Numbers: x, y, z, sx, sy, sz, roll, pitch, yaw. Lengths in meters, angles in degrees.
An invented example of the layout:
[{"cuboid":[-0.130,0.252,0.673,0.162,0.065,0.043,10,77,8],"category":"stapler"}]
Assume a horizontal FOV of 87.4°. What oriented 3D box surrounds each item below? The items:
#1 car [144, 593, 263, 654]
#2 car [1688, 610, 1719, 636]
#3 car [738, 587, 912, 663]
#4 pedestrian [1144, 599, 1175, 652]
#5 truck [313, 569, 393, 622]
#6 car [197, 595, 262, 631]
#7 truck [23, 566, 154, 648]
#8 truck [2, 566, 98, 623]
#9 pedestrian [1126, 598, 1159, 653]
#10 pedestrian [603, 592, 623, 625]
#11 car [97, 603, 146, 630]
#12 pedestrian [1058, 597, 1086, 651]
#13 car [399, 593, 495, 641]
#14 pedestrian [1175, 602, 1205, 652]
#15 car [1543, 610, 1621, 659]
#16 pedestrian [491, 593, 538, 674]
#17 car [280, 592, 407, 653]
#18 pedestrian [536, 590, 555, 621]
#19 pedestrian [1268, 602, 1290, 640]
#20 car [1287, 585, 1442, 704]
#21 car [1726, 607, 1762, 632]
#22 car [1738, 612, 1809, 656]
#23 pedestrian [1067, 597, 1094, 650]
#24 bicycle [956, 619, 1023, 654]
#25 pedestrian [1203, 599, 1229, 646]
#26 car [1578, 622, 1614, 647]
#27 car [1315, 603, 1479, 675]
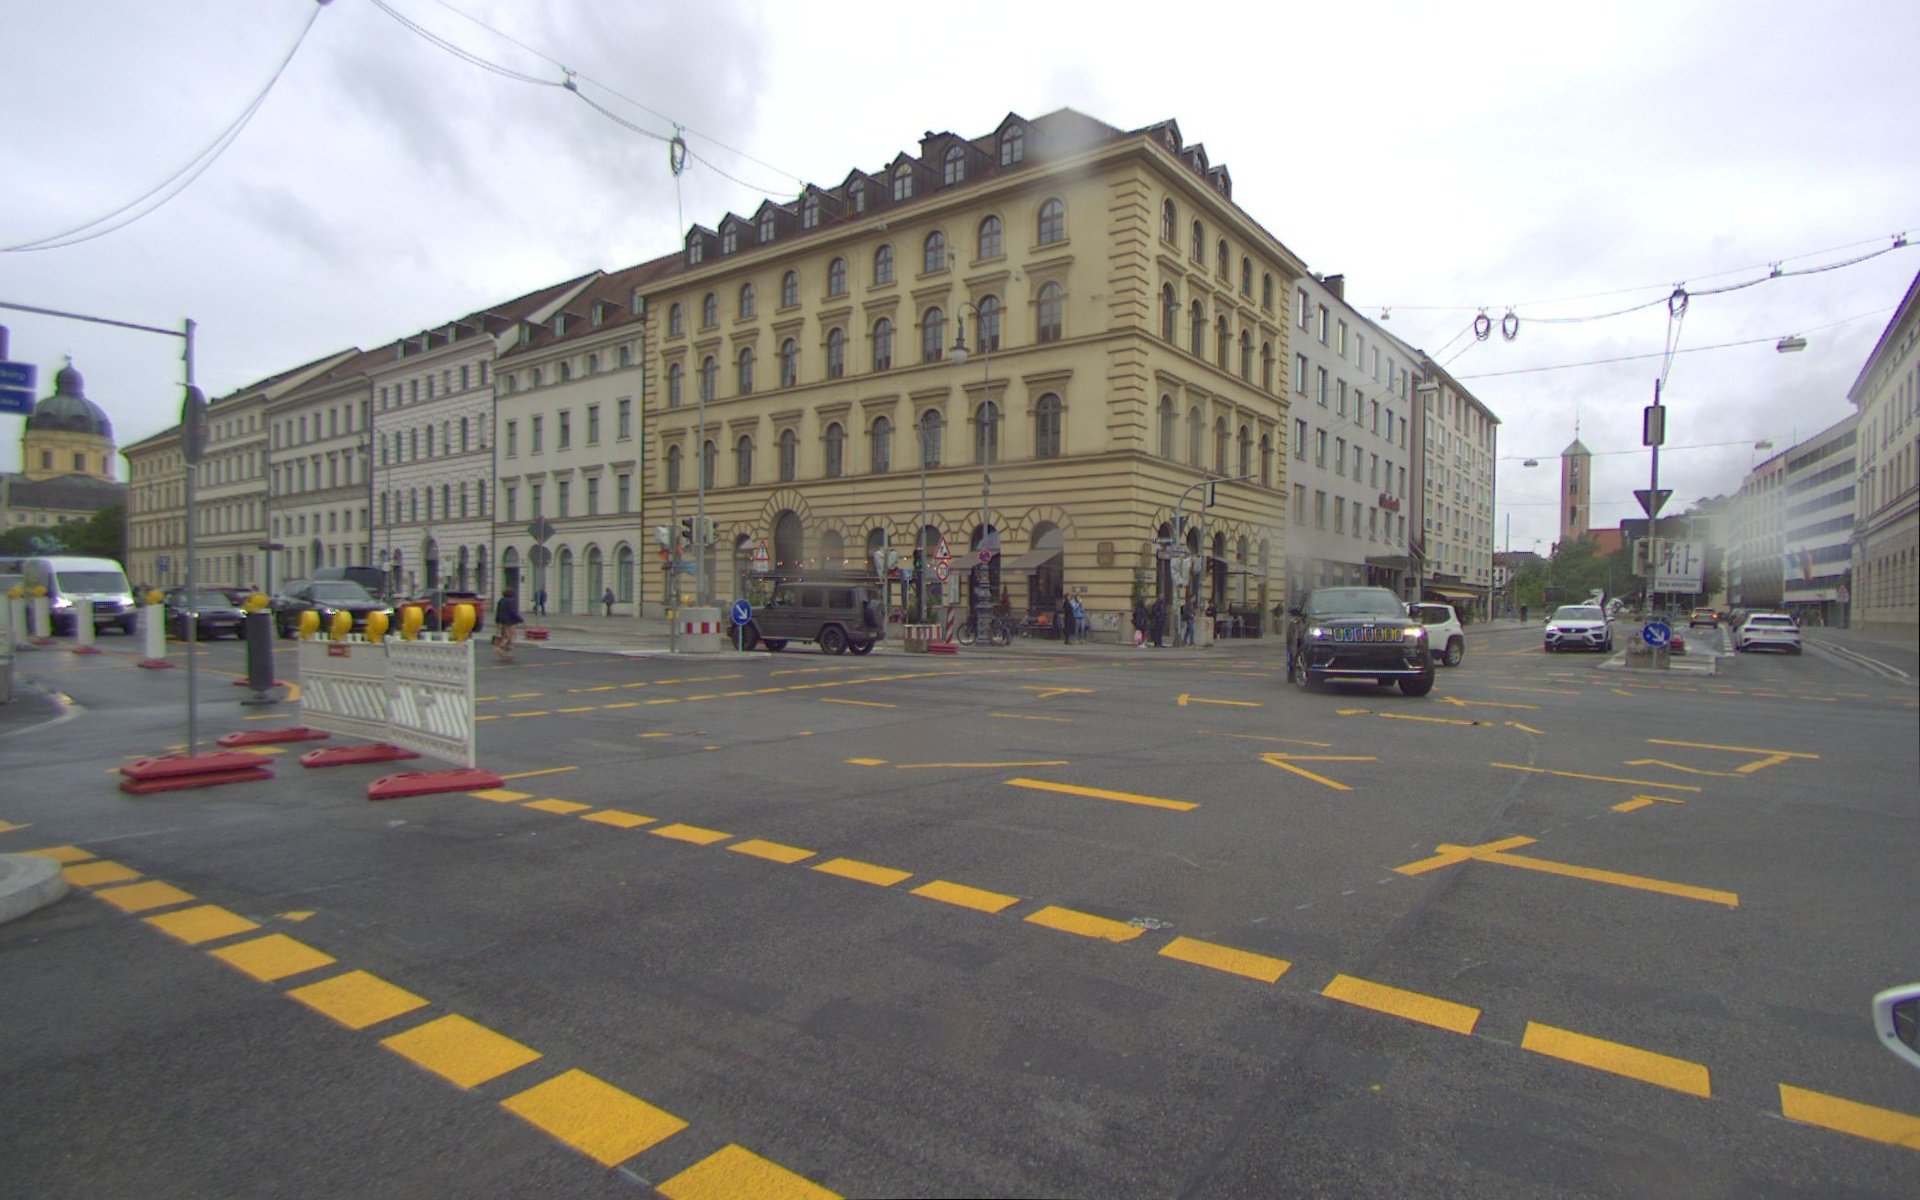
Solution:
[{"cuboid":[-22.536,0.647,29.888,3.935,1.615,1.795,2,1,37],"category":"car"},{"cuboid":[61.146,1.902,82.639,1.968,2.040,3.985,1,0,36],"category":"car"},{"cuboid":[-3.830,0.656,28.641,4.363,2.040,2.245,0,0,22],"category":"car"},{"cuboid":[6.805,0.864,34.282,0.731,1.795,0.730,1,1,-32],"category":"pedestrian"},{"cuboid":[-32.857,-0.227,54.332,4.708,2.699,2.213,0,0,38],"category":"truck"},{"cuboid":[-38.723,0.669,53.247,3.694,1.822,1.860,0,0,38],"category":"car"},{"cuboid":[-29.016,0.197,33.378,5.765,2.513,2.109,1,0,37],"category":"truck"},{"cuboid":[-52.458,-0.373,57.849,7.032,3.053,2.979,2,1,38],"category":"truck"},{"cuboid":[6.152,0.857,33.868,0.752,1.795,0.730,1,1,-32],"category":"pedestrian"},{"cuboid":[-19.029,0.479,55.027,0.724,1.795,0.736,1,0,37],"category":"pedestrian"},{"cuboid":[-56.493,1.092,67.644,3.939,1.743,1.815,1,0,39],"category":"car"},{"cuboid":[3.851,0.819,34.567,0.722,1.795,0.738,2,1,27],"category":"pedestrian"},{"cuboid":[-19.776,0.610,38.674,3.937,1.743,1.816,1,0,38],"category":"car"},{"cuboid":[8.462,0.997,36.921,0.729,1.795,0.731,0,1,-38],"category":"pedestrian"},{"cuboid":[21.553,1.149,34.743,1.968,1.544,4.217,0,0,36],"category":"car"},{"cuboid":[-10.075,0.740,22.714,0.728,1.795,0.732,2,1,41],"category":"pedestrian"},{"cuboid":[-18.507,0.618,30.124,3.937,1.706,1.992,1,0,38],"category":"car"},{"cuboid":[-23.979,0.326,58.050,0.724,1.795,0.736,1,0,37],"category":"pedestrian"},{"cuboid":[15.262,0.990,48.046,0.727,1.795,0.733,2,1,37],"category":"pedestrian"},{"cuboid":[6.755,0.661,17.260,1.961,1.758,4.587,0,0,15],"category":"car"},{"cuboid":[53.749,1.295,68.921,1.841,1.623,3.836,0,0,37],"category":"car"},{"cuboid":[30.457,1.226,37.714,1.789,1.444,4.436,2,1,36],"category":"car"},{"cuboid":[4.229,0.819,35.226,0.722,1.795,0.738,2,1,27],"category":"pedestrian"},{"cuboid":[0.994,1.193,33.492,2.154,1.114,0.600,0,0,13],"category":"bicycle"},{"cuboid":[9.919,0.861,38.889,0.727,1.795,0.733,2,1,37],"category":"pedestrian"},{"cuboid":[48.453,2.611,76.500,1.968,1.758,4.217,0,0,37],"category":"car"},{"cuboid":[11.236,0.948,25.765,4.184,1.700,1.784,0,0,-31],"category":"car"}]
